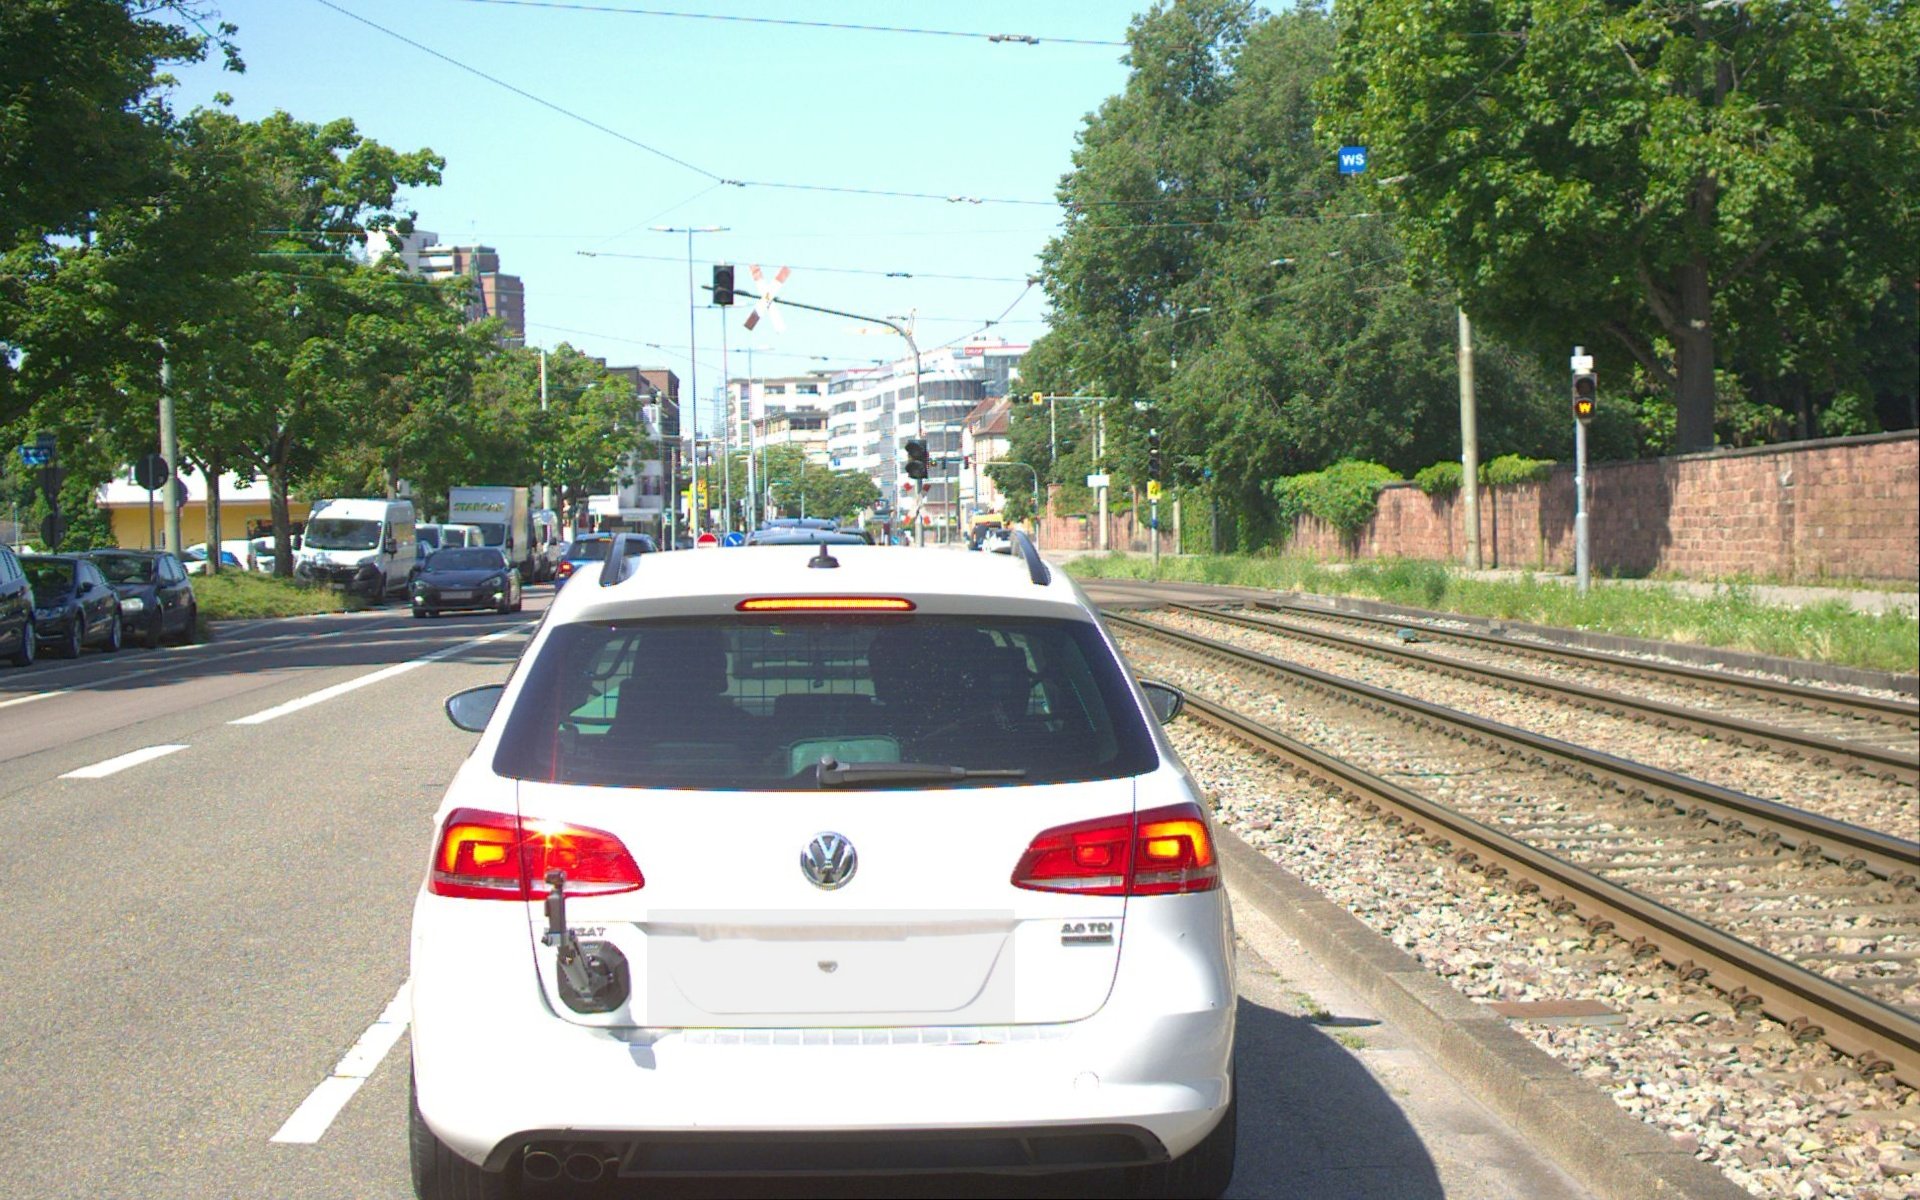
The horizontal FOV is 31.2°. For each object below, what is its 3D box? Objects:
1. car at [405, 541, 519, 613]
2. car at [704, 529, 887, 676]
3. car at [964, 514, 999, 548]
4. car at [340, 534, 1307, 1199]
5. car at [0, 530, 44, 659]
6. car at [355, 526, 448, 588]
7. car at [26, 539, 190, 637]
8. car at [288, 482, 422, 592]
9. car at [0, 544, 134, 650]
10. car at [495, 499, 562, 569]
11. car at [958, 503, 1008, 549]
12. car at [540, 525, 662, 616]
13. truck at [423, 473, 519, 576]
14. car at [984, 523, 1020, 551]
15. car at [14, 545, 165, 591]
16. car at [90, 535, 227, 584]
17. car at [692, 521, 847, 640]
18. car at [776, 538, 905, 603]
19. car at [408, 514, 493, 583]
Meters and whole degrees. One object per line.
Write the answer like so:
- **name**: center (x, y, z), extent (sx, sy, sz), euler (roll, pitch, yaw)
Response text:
- **car**: center (-9.252, -0.458, 64.114), extent (1.687, 1.240, 4.065), euler (-1, 1, -3)
- **car**: center (-1.668, -0.020, 34.942), extent (1.745, 1.383, 3.914), euler (0, 1, -3)
- **car**: center (1.148, -3.723, 185.924), extent (1.691, 1.806, 3.454), euler (1, 1, -3)
- **car**: center (-0.357, 0.584, 8.302), extent (1.768, 1.441, 3.914), euler (1, 1, -3)
- **car**: center (-12.828, -0.059, 42.733), extent (1.761, 1.600, 4.894), euler (0, 1, -3)
- **car**: center (-14.439, -1.141, 89.090), extent (1.843, 1.511, 4.198), euler (-2, 1, -2)
- **car**: center (-13.213, -0.210, 53.509), extent (1.641, 1.445, 4.004), euler (1, 1, -1)
- **car**: center (-14.539, -1.547, 82.949), extent (2.058, 2.492, 6.307), euler (1, 1, 0)
- **car**: center (-13.033, -0.071, 48.705), extent (1.690, 1.375, 4.783), euler (-1, 1, -3)
- **car**: center (-15.858, -2.440, 126.482), extent (1.843, 2.486, 5.857), euler (-2, 1, -2)
- **car**: center (1.290, -4.186, 194.465), extent (2.462, 2.490, 5.911), euler (1, 1, -3)
- **car**: center (-5.816, -0.509, 56.022), extent (1.745, 1.403, 3.914), euler (1, 1, -3)
- **truck**: center (-15.550, -2.417, 109.731), extent (2.356, 3.112, 6.892), euler (-2, 1, -3)
- **car**: center (2.106, -3.128, 171.895), extent (1.581, 1.341, 3.454), euler (1, 1, -3)
- **car**: center (-25.907, -0.956, 102.400), extent (3.987, 1.221, 1.771), euler (-2, 1, 1)
- **car**: center (-26.035, -1.324, 111.783), extent (3.987, 1.439, 1.771), euler (-2, 1, 1)
- **car**: center (-2.414, -0.288, 43.864), extent (1.861, 1.412, 4.325), euler (1, 1, -3)
- **car**: center (-2.647, -0.683, 77.067), extent (1.747, 1.403, 3.910), euler (1, 1, 16)
- **car**: center (-15.141, -1.565, 102.390), extent (1.843, 1.954, 5.134), euler (-2, 1, -2)
